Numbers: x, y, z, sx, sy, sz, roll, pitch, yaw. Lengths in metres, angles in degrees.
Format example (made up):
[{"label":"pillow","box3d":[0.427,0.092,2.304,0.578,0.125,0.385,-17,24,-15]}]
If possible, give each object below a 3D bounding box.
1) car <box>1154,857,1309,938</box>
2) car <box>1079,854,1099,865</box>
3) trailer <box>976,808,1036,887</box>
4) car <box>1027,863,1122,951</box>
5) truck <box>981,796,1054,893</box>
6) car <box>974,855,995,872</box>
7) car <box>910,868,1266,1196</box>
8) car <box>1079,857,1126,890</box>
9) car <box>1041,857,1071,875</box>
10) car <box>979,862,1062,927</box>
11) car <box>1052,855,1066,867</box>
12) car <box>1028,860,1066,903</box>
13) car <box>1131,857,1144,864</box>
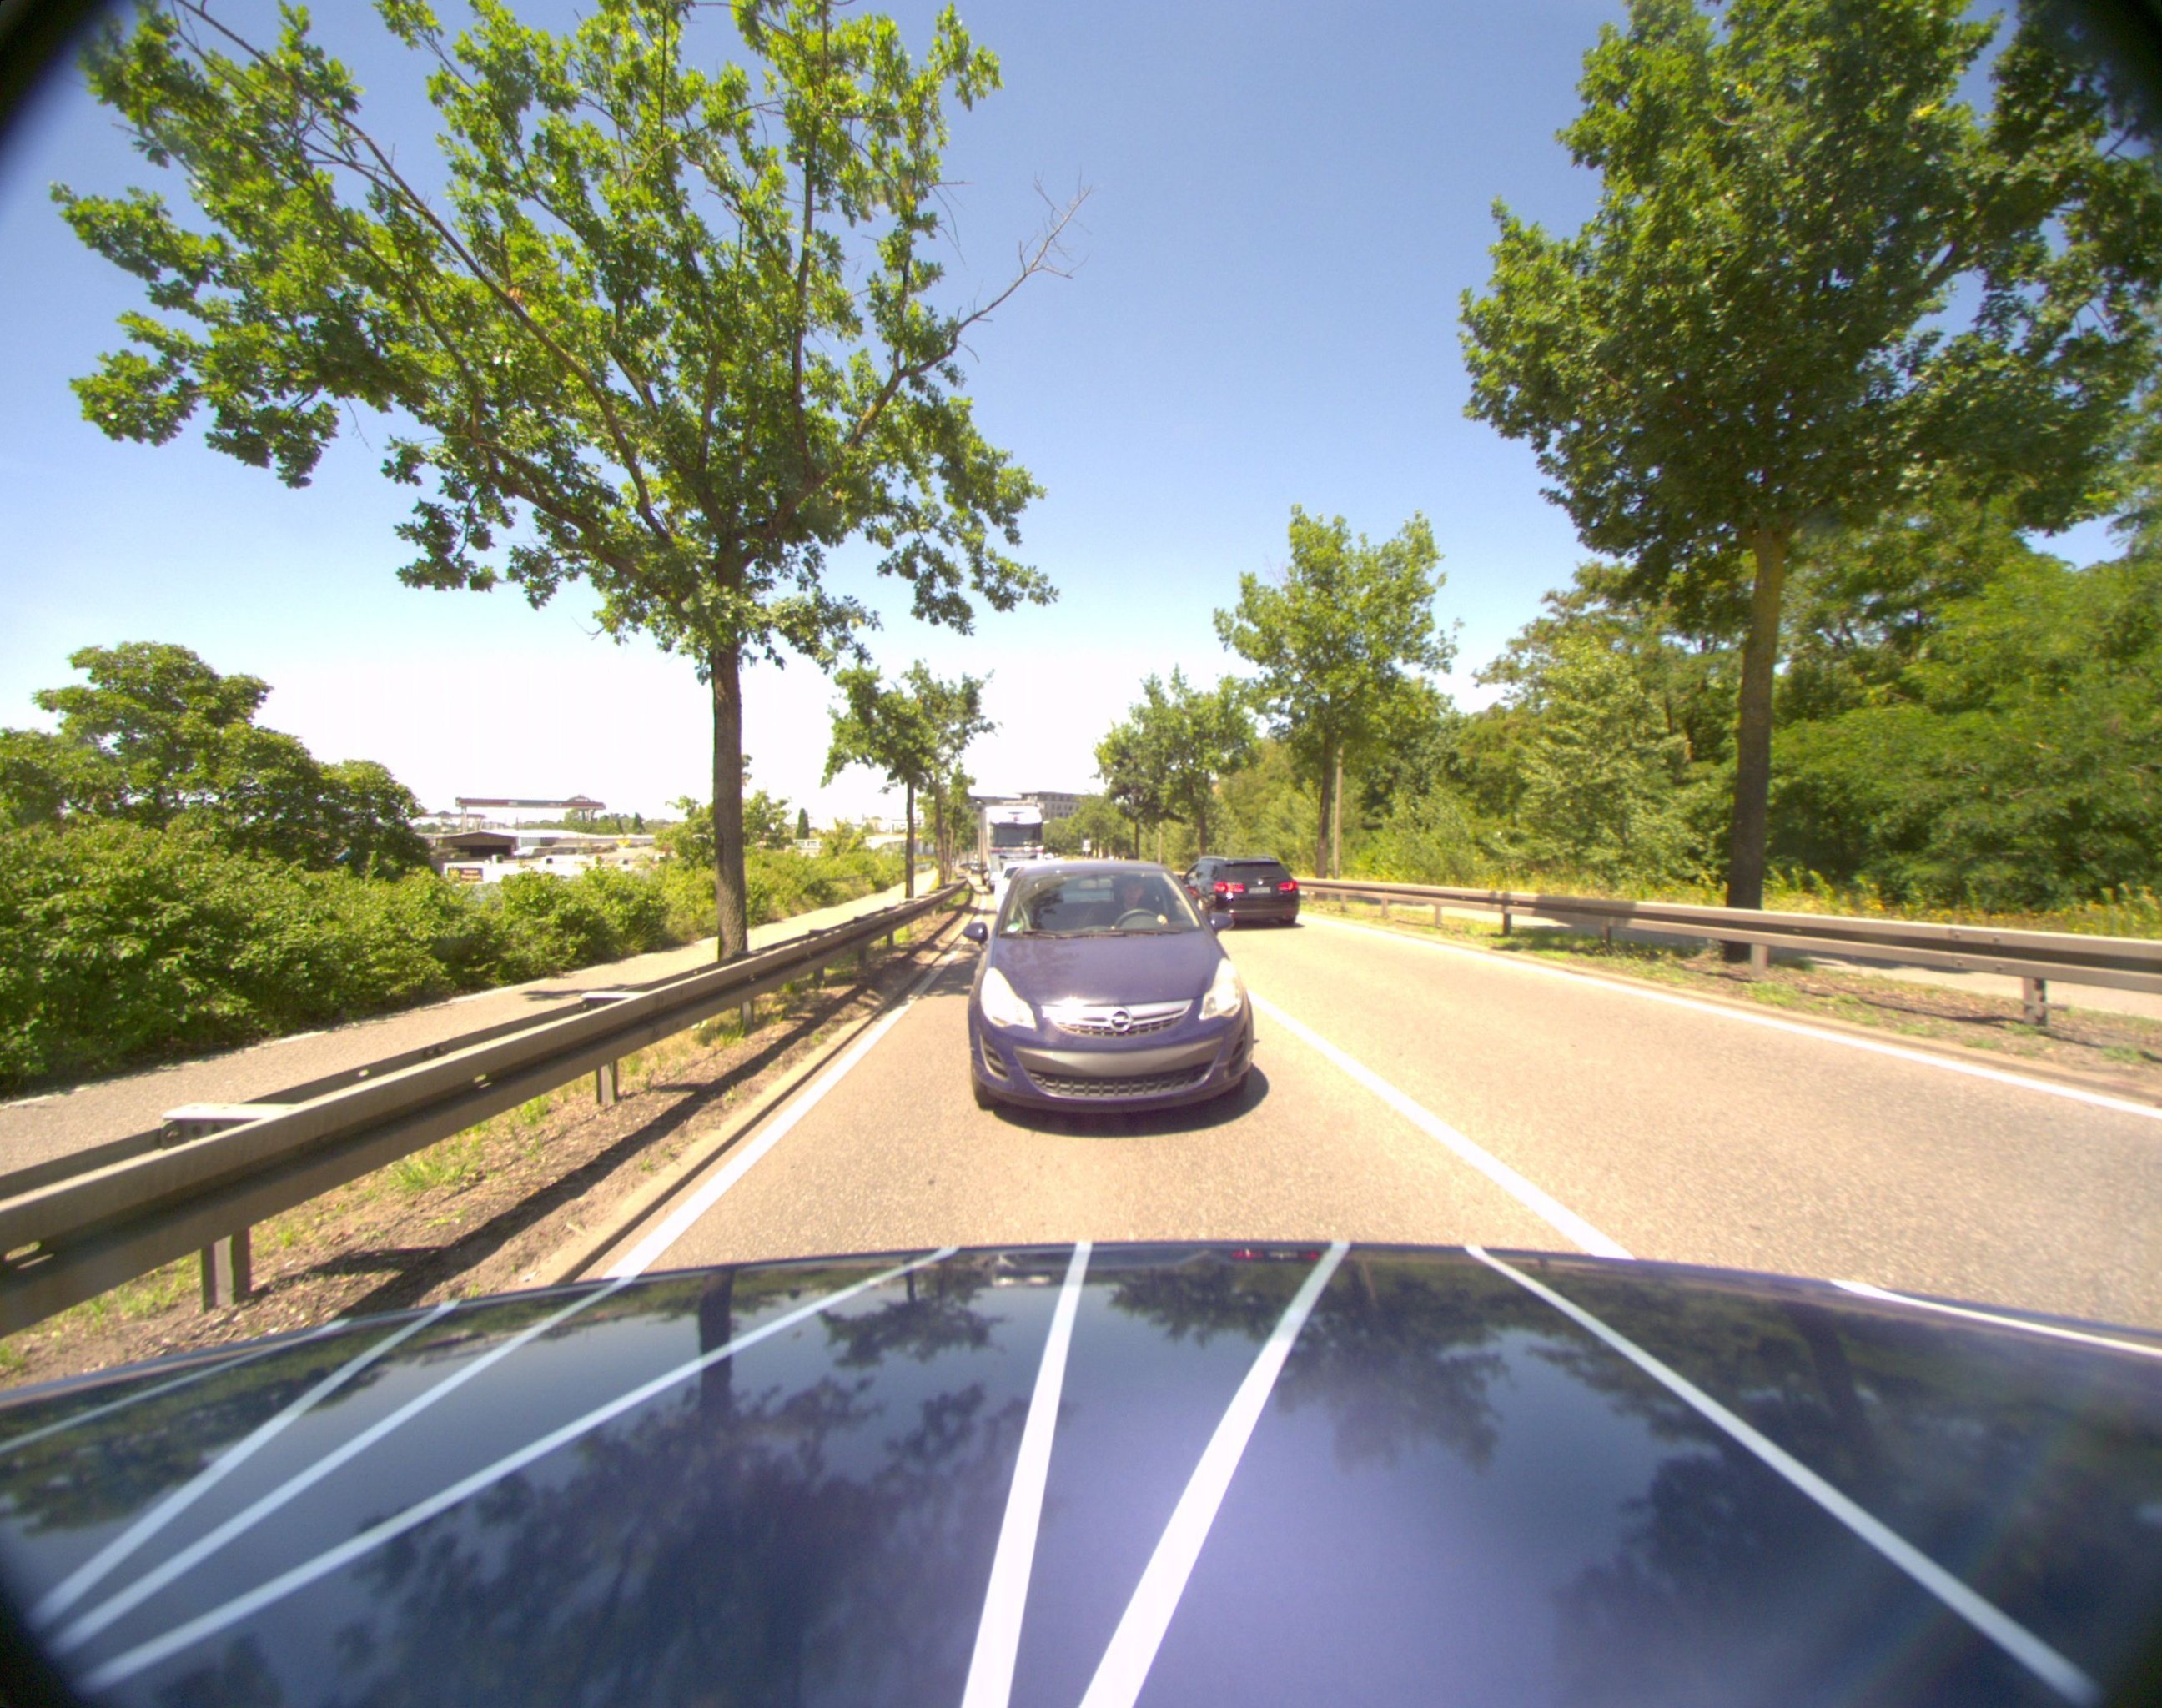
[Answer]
[{"label":"car","box3d":[2.977,0.797,16.186,1.882,1.372,4.667,-2,0,-6]},{"label":"car","box3d":[1.120,0.804,106.779,1.701,1.406,3.963,-1,0,17]},{"label":"trailer","box3d":[-5.003,-0.366,48.228,2.883,4.189,13.996,-2,0,-9]},{"label":"car","box3d":[-0.164,0.927,15.022,1.569,1.408,4.121,-2,0,-1]},{"label":"truck","box3d":[-3.404,-0.445,38.299,2.860,4.244,8.808,-2,0,-10]},{"label":"car","box3d":[-9.789,0.937,77.106,1.976,1.567,3.998,-2,0,-5]},{"label":"car","box3d":[0.035,0.911,5.900,1.698,1.459,4.383,-2,0,0]},{"label":"car","box3d":[1.015,0.921,37.142,1.750,1.483,3.731,-1,0,-7]},{"label":"car","box3d":[-2.062,0.919,61.571,1.613,1.374,3.842,-2,0,-14]},{"label":"car","box3d":[-1.460,0.959,19.636,1.816,1.420,3.715,-2,0,0]},{"label":"car","box3d":[-2.647,0.846,90.853,1.537,1.406,3.553,-1,0,-1]},{"label":"car","box3d":[-1.226,0.940,27.288,1.250,1.376,3.103,-2,0,-3]},{"label":"car","box3d":[12.430,1.436,167.527,1.738,1.406,3.499,-1,0,23]}]
